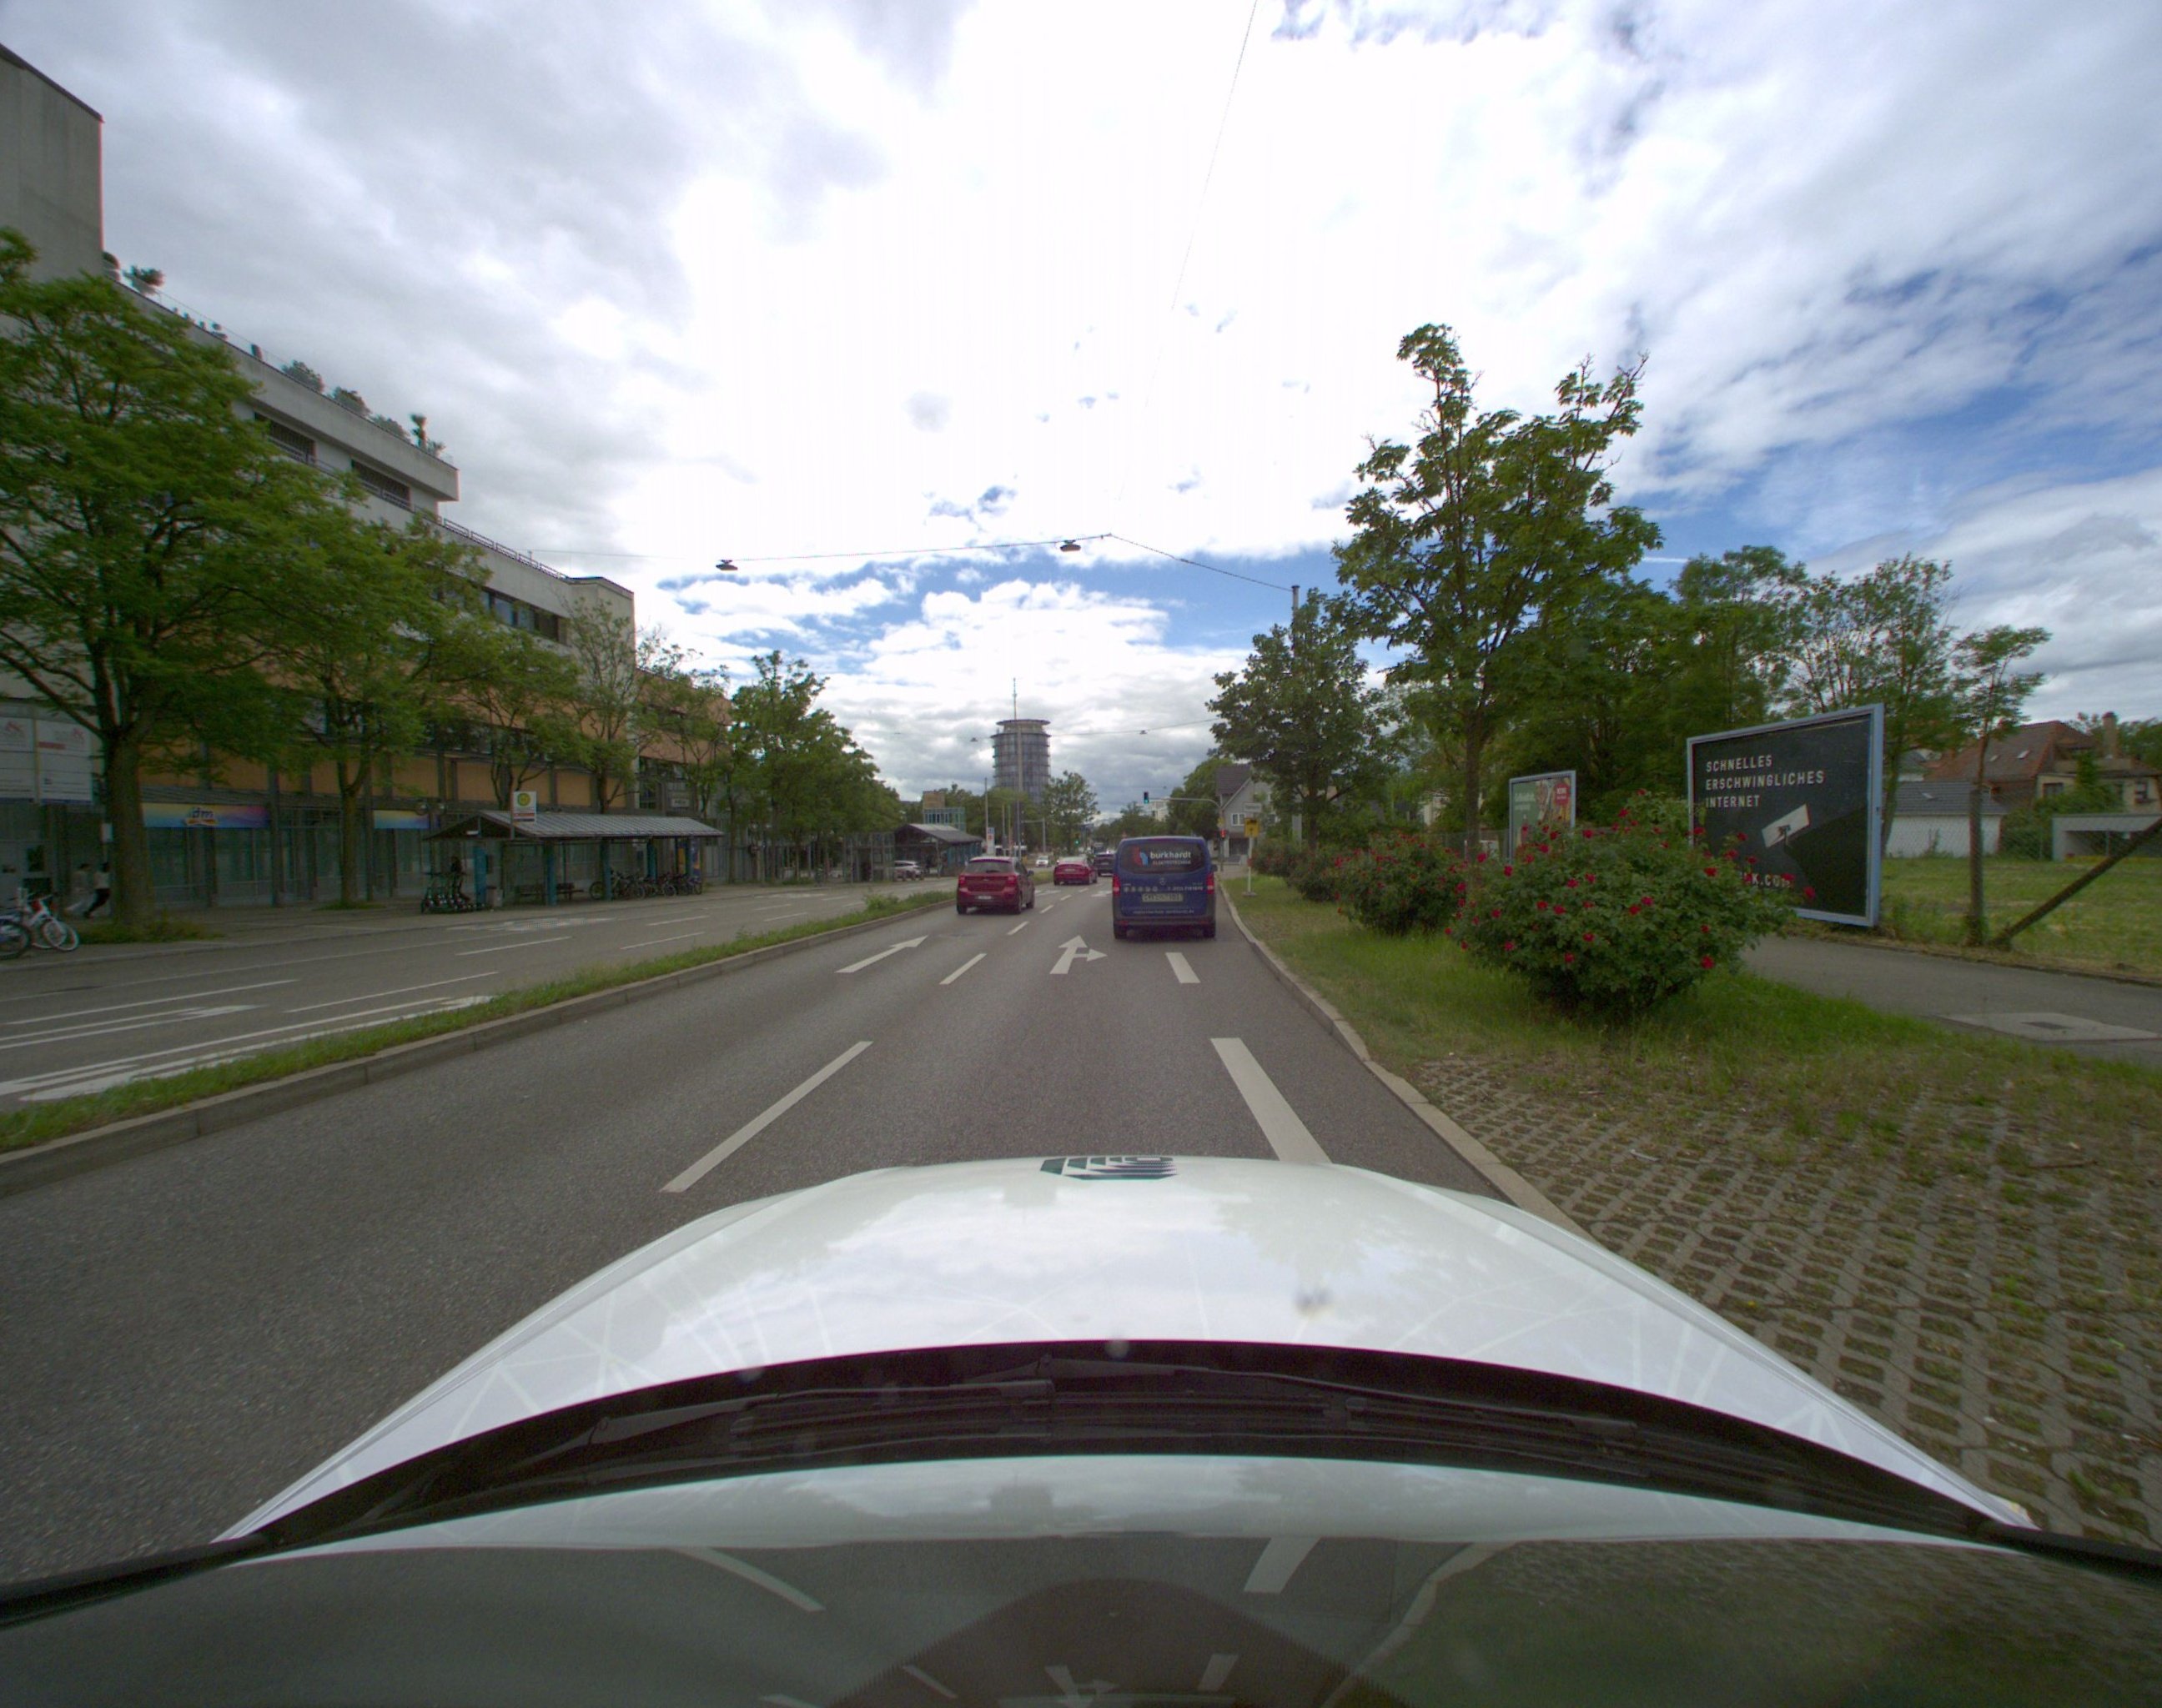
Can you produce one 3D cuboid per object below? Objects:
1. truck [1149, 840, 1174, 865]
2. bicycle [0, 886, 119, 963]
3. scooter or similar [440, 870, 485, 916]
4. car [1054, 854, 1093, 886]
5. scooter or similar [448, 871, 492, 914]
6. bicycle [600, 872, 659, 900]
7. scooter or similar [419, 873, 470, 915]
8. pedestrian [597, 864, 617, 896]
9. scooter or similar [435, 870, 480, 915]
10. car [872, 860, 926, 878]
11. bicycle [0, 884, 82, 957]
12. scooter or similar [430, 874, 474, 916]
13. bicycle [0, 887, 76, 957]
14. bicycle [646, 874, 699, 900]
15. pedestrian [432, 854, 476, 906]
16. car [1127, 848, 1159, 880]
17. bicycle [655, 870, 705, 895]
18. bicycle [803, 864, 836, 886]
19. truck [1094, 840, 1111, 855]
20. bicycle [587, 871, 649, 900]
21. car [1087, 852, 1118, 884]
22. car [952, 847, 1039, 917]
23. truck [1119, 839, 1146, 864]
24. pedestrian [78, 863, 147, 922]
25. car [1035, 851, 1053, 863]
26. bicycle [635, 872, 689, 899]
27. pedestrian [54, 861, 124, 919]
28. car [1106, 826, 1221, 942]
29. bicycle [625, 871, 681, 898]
[{"bbox_3d":[7.503,-0.138,75.800,1.982,2.165,5.572,1,0,8],"label":"truck"},{"bbox_3d":[-18.415,1.231,14.467,0.619,1.253,1.694,-2,0,40],"label":"bicycle"},{"bbox_3d":[-19.794,1.231,26.061,1.197,1.423,0.259,-2,0,0],"label":"scooter or similar"},{"bbox_3d":[-0.386,0.834,42.017,1.863,1.486,3.998,-2,-2,-1],"label":"car"},{"bbox_3d":[-19.785,1.245,26.360,1.197,1.320,0.259,-2,0,0],"label":"scooter or similar"},{"bbox_3d":[-19.479,1.369,35.167,2.063,1.153,0.710,1,-1,-8],"label":"bicycle"},{"bbox_3d":[-19.661,1.236,25.156,1.317,1.269,0.339,0,0,0],"label":"scooter or similar"},{"bbox_3d":[-24.391,1.334,41.898,0.529,1.643,0.677,-2,0,9],"label":"pedestrian"},{"bbox_3d":[-19.745,1.219,25.791,1.197,1.385,0.222,-2,0,0],"label":"scooter or similar"},{"bbox_3d":[-15.210,1.214,68.229,3.974,1.354,2.000,-2,0,0],"label":"car"},{"bbox_3d":[-19.409,1.202,14.716,0.619,1.253,1.694,-2,0,40],"label":"bicycle"},{"bbox_3d":[-19.706,1.278,25.517,1.124,1.295,0.268,-2,0,-1],"label":"scooter or similar"},{"bbox_3d":[-20.219,1.283,15.274,0.619,1.253,1.694,-2,0,40],"label":"bicycle"},{"bbox_3d":[-19.313,1.547,38.552,2.063,1.153,0.710,2,-1,-8],"label":"bicycle"},{"bbox_3d":[-22.339,0.917,29.013,0.729,1.781,0.998,-2,0,4],"label":"pedestrian"},{"bbox_3d":[3.627,0.546,47.371,1.738,1.723,4.006,-2,0,5],"label":"car"},{"bbox_3d":[-19.486,1.390,39.586,2.063,1.153,0.710,-1,0,-8],"label":"bicycle"},{"bbox_3d":[-16.132,1.306,50.341,1.047,1.271,2.428,1,0,4],"label":"bicycle"},{"bbox_3d":[5.364,-1.574,201.557,3.351,3.727,11.297,0,0,6],"label":"truck"},{"bbox_3d":[-19.326,1.308,34.021,2.063,1.153,0.710,1,0,-8],"label":"bicycle"},{"bbox_3d":[1.429,0.908,55.733,1.987,2.013,3.999,0,1,-1],"label":"car"},{"bbox_3d":[-2.267,0.701,22.634,1.739,1.723,4.003,-2,0,3],"label":"car"},{"bbox_3d":[4.835,-0.227,75.119,1.982,2.165,5.572,1,0,8],"label":"truck"},{"bbox_3d":[-27.480,1.083,23.124,0.729,1.618,0.998,-2,0,4],"label":"pedestrian"},{"bbox_3d":[-5.005,0.443,110.091,1.614,1.574,4.010,-2,0,9],"label":"car"},{"bbox_3d":[-19.319,1.424,37.556,2.063,1.153,0.710,-2,0,-8],"label":"bicycle"},{"bbox_3d":[-28.397,1.018,23.333,0.729,1.618,0.998,-2,0,4],"label":"pedestrian"},{"bbox_3d":[1.671,0.524,16.292,1.938,1.965,4.549,-1,0,6],"label":"car"},{"bbox_3d":[-18.987,1.352,36.159,2.063,1.153,0.710,0,0,-8],"label":"bicycle"}]
